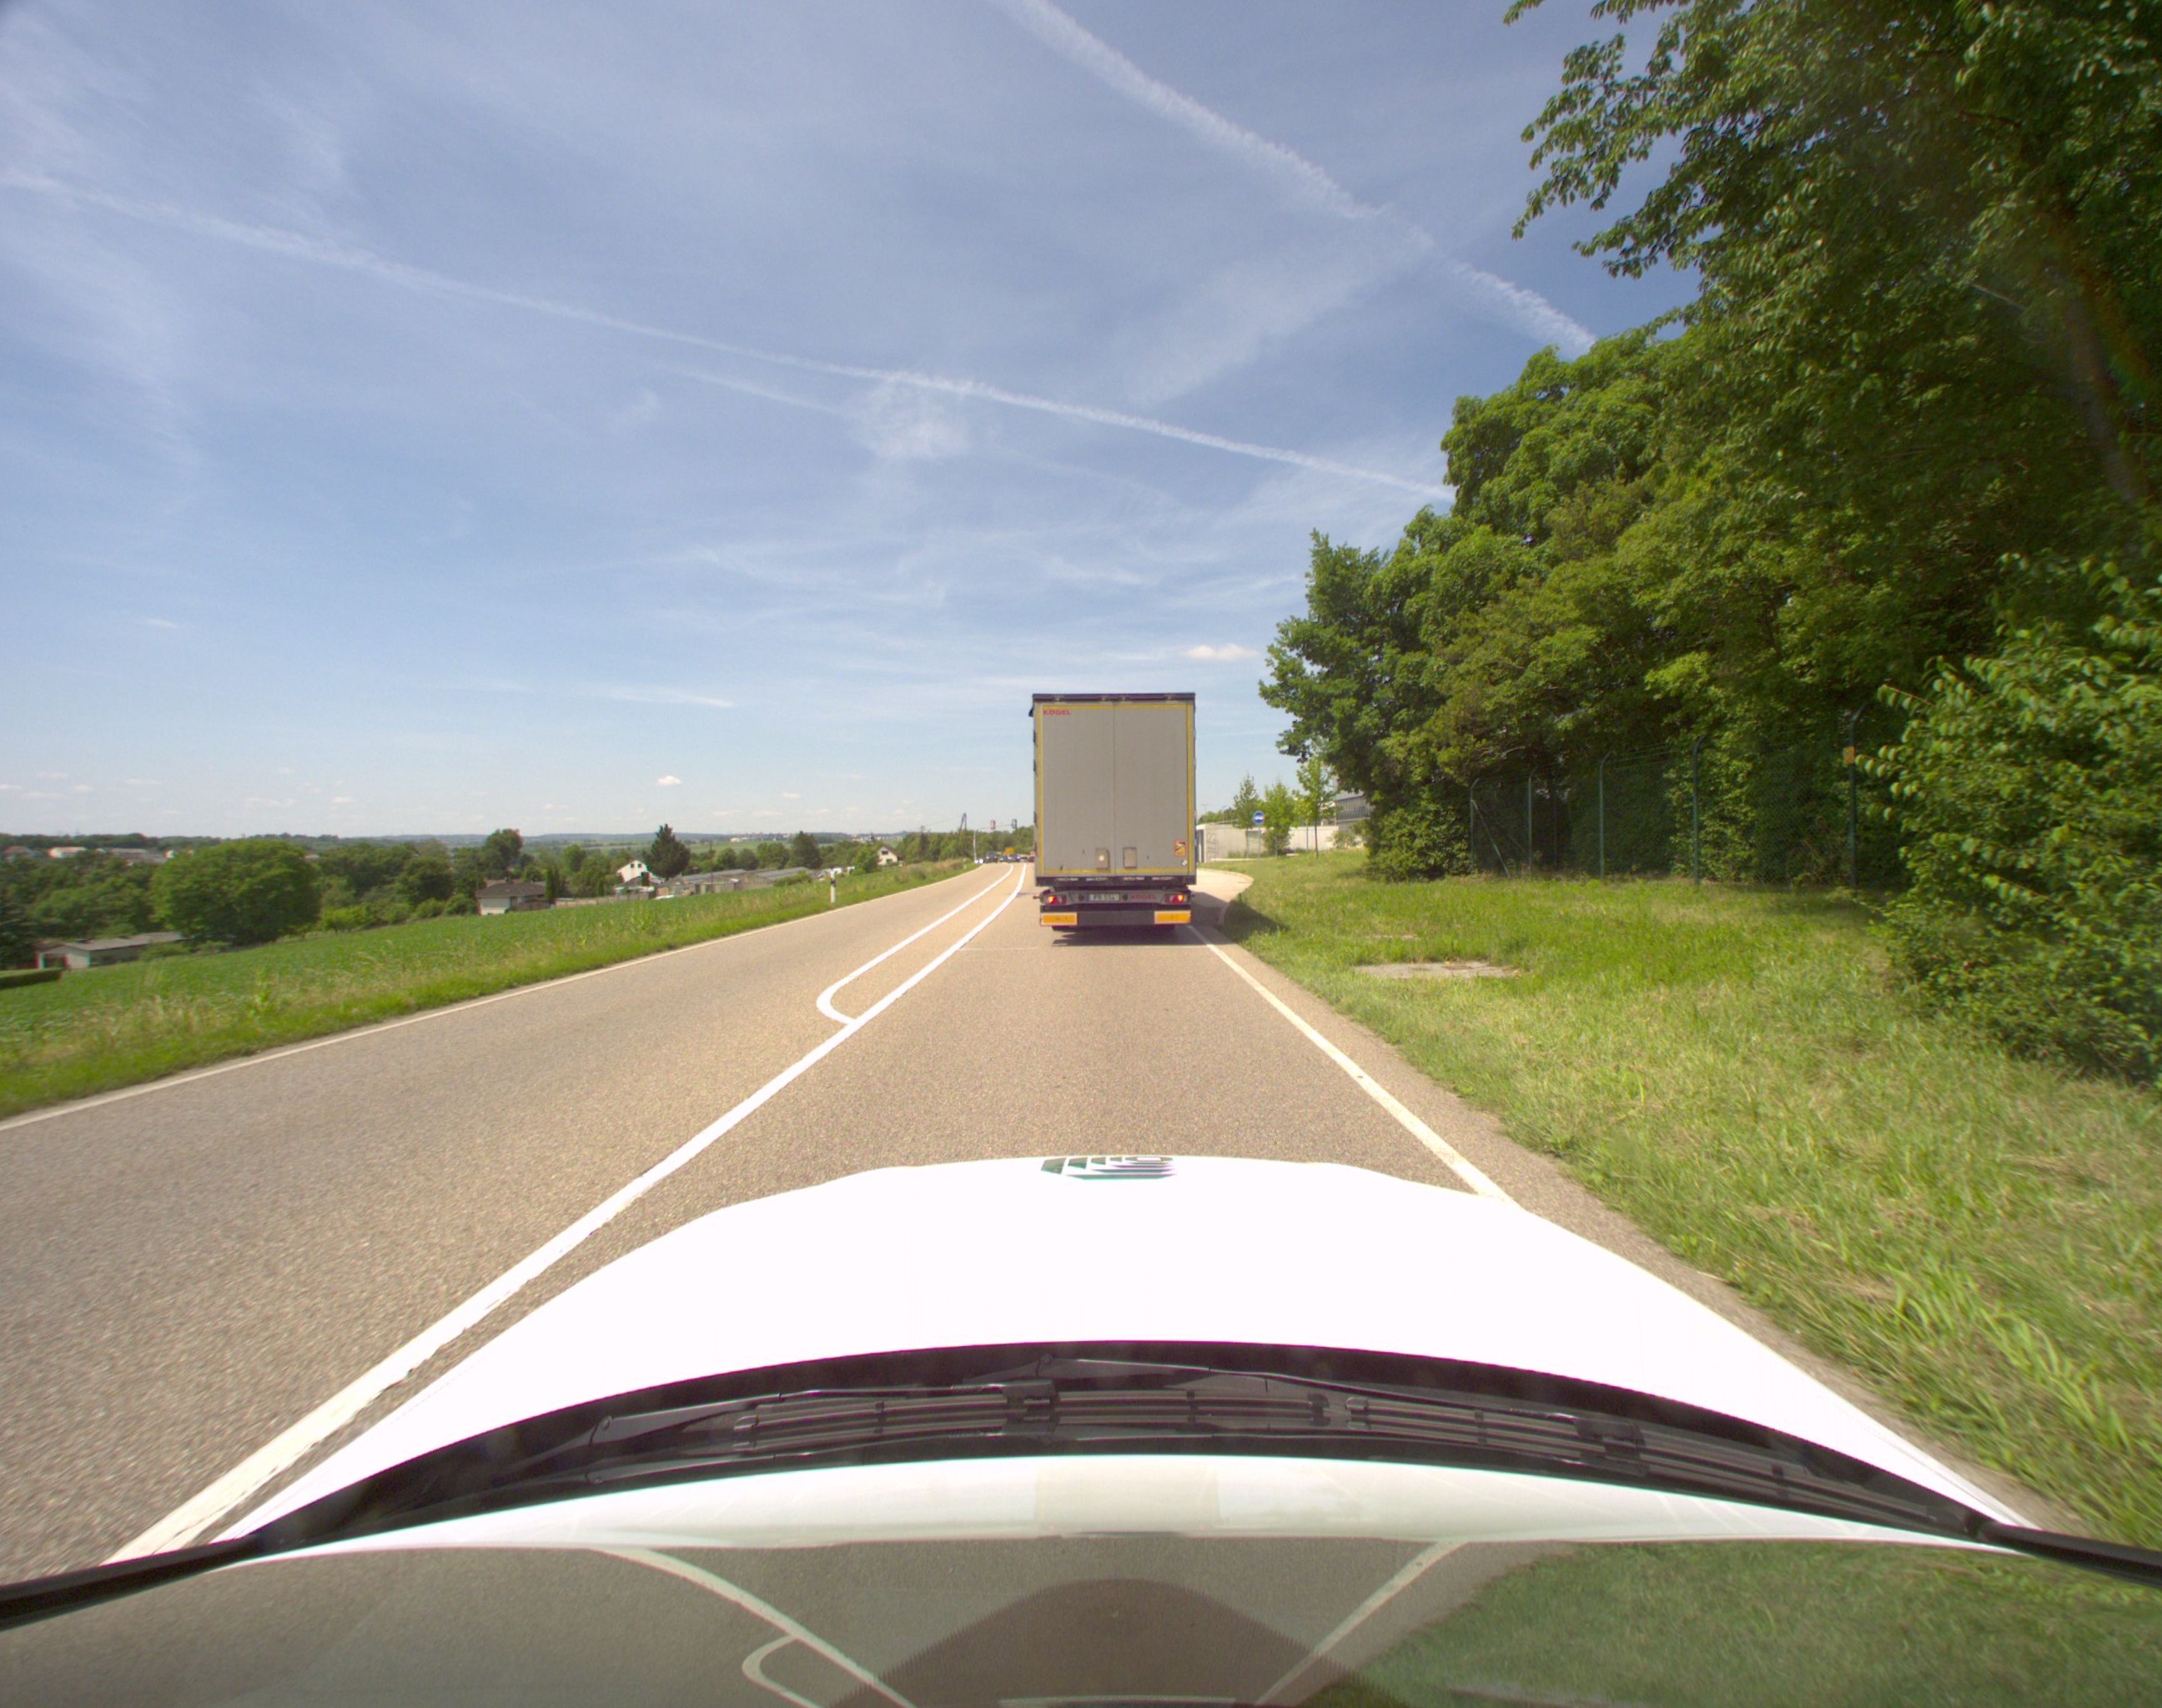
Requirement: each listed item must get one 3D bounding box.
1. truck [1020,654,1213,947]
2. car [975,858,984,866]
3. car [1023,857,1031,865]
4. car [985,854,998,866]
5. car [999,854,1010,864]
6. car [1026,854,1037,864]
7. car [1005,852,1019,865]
[{"bbox_3d":[0.571,-0.838,16.743,2.897,4.409,8.860,0,0,0],"label":"truck"},{"bbox_3d":[-25.732,2.057,206.299,1.990,1.787,3.993,-3,0,-5],"label":"car"},{"bbox_3d":[-13.080,1.649,197.321,1.887,1.777,4.383,-3,0,-2],"label":"car"},{"bbox_3d":[-15.369,1.054,139.865,1.991,1.978,5.269,-3,0,-5],"label":"car"},{"bbox_3d":[-15.324,1.019,162.745,1.990,1.815,4.289,-3,0,-5],"label":"car"},{"bbox_3d":[-10.785,1.155,176.945,2.166,2.013,4.523,-3,0,-2],"label":"car"},{"bbox_3d":[-10.810,0.737,128.117,1.989,1.950,4.498,-3,0,-2],"label":"car"}]
